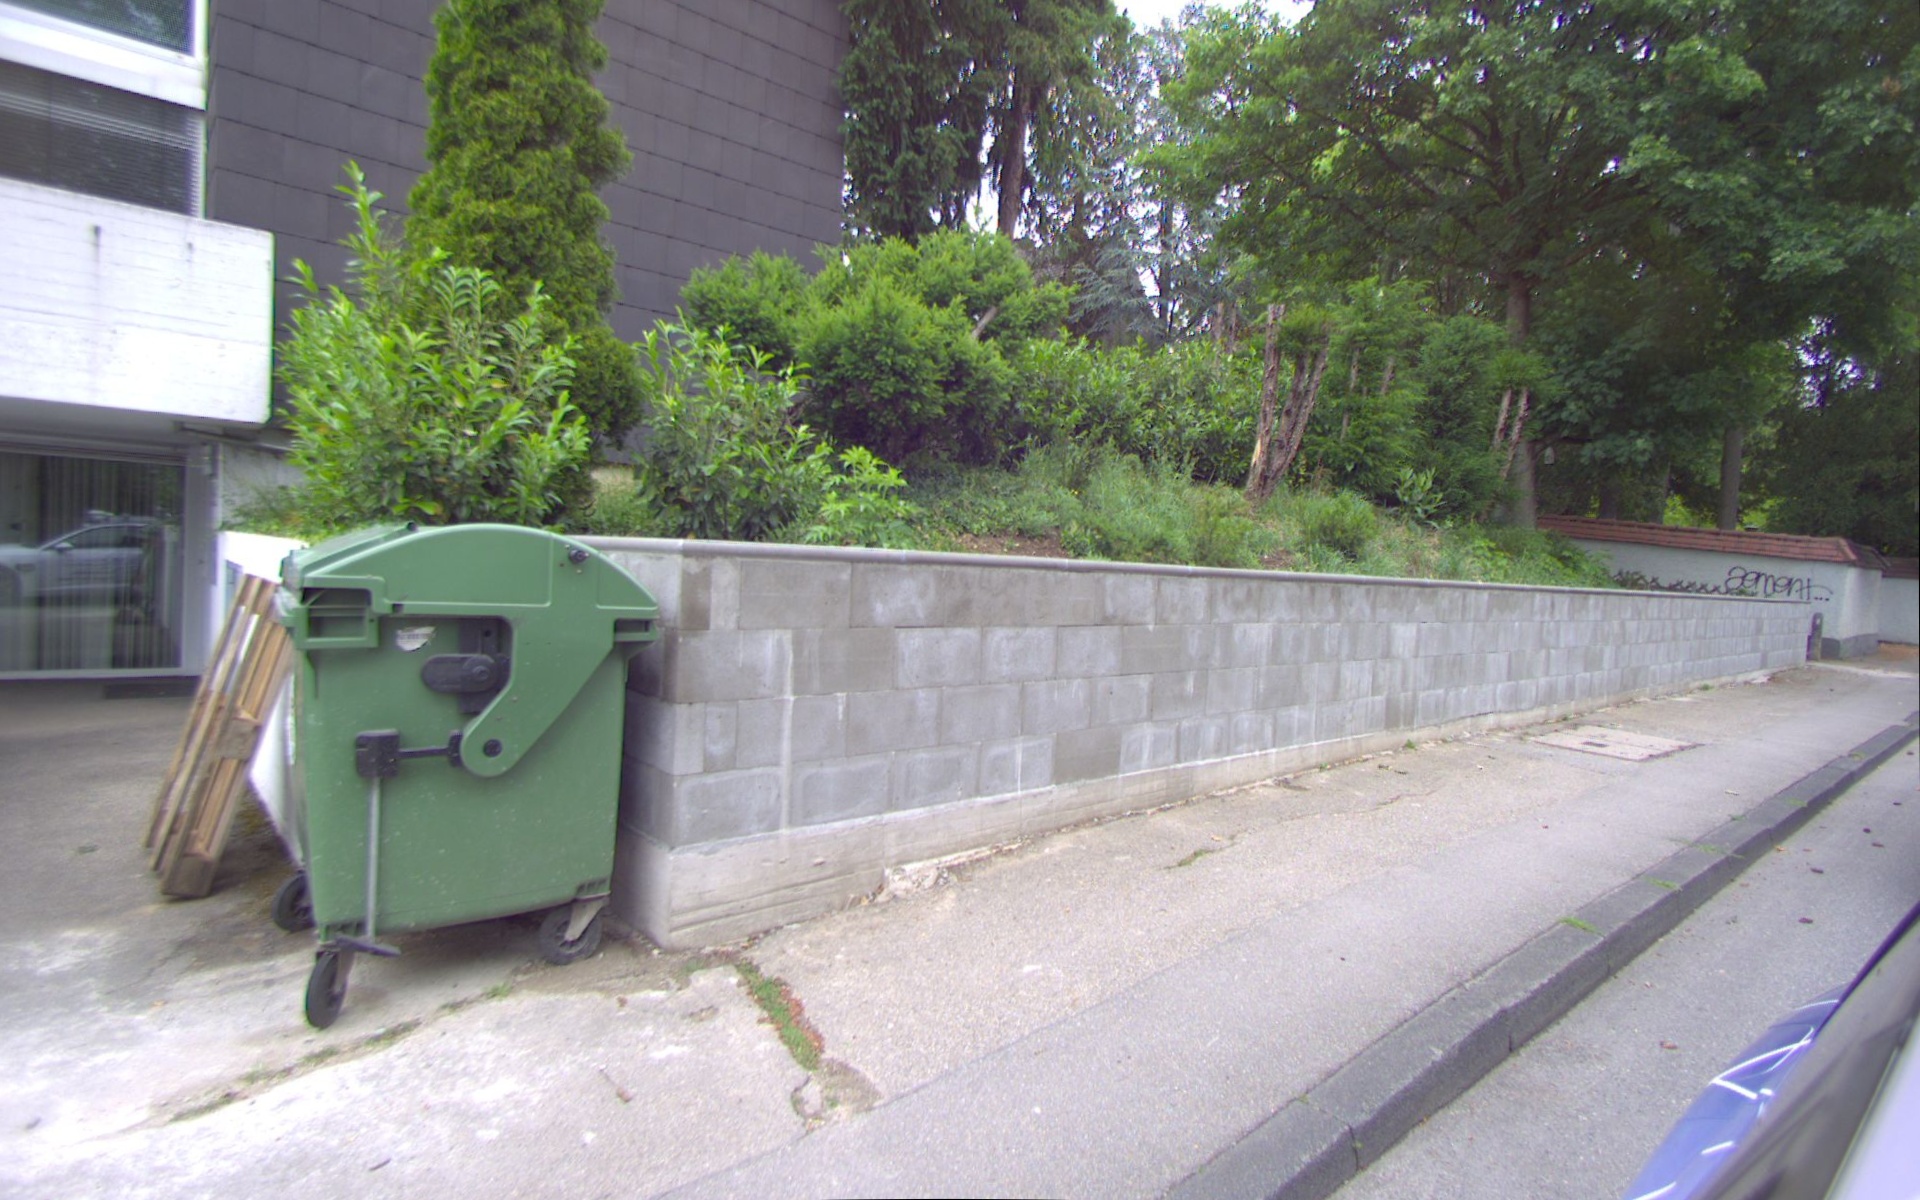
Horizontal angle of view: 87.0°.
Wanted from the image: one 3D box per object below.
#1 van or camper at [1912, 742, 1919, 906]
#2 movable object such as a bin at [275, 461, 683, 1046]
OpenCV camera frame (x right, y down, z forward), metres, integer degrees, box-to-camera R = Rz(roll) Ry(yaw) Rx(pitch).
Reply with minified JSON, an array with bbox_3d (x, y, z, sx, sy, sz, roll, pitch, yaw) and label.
[{"bbox_3d":[6.359,0.533,5.112,4.125,1.693,1.800,0,3,-41],"label":"van or camper"},{"bbox_3d":[-1.635,0.384,3.392,1.014,1.549,1.037,0,2,-39],"label":"movable object such as a bin"}]
